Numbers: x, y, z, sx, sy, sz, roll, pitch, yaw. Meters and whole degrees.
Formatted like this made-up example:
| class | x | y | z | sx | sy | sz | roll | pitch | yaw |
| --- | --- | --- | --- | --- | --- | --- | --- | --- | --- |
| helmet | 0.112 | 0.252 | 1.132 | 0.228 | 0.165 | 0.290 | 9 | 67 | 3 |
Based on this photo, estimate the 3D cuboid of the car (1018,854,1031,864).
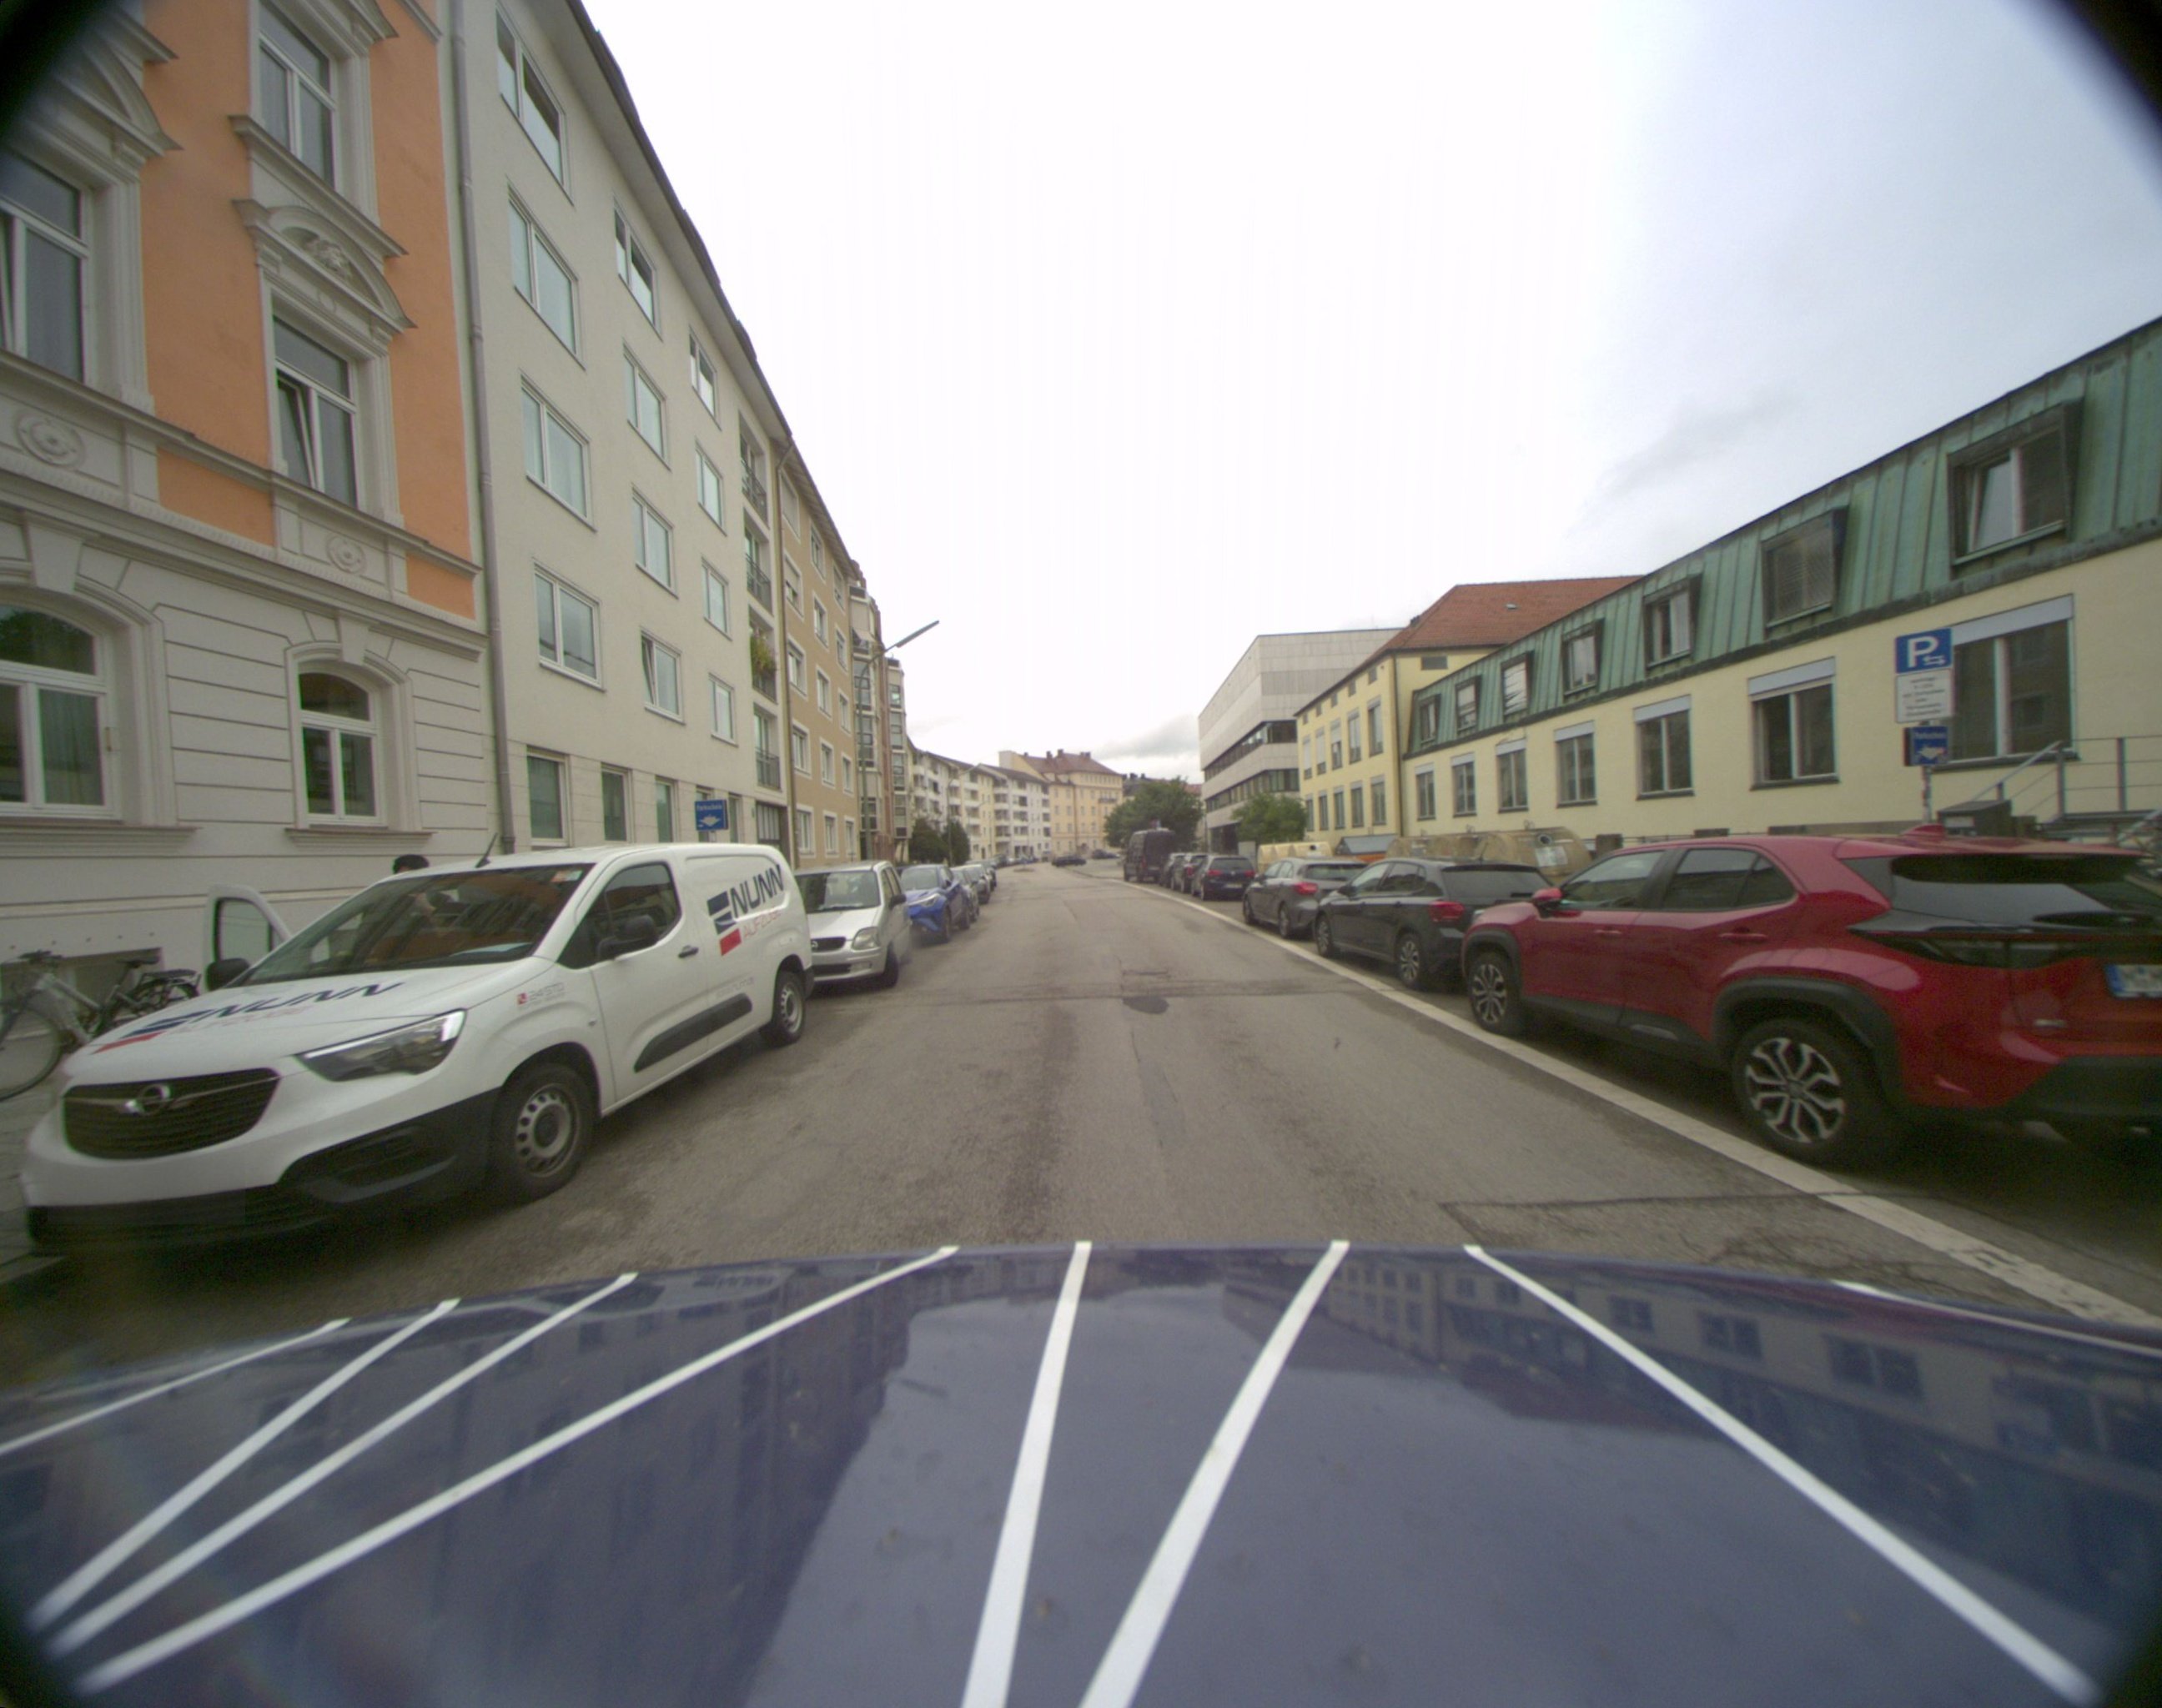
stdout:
| class | x | y | z | sx | sy | sz | roll | pitch | yaw |
| --- | --- | --- | --- | --- | --- | --- | --- | --- | --- |
| car | -9.420 | 0.847 | 126.595 | 1.756 | 1.445 | 3.570 | -3 | 0 | 3 |

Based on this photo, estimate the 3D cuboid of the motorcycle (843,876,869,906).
| class | x | y | z | sx | sy | sz | roll | pitch | yaw |
| --- | --- | --- | --- | --- | --- | --- | --- | --- | --- |
| motorcycle | -9.456 | 1.539 | 31.988 | 0.629 | 1.119 | 1.798 | -3 | 0 | -3 |

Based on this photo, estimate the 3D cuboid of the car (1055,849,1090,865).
| class | x | y | z | sx | sy | sz | roll | pitch | yaw |
| --- | --- | --- | --- | --- | --- | --- | --- | --- | --- |
| car | -1.116 | 0.429 | 96.254 | 4.248 | 1.849 | 1.999 | -2 | 1 | -5 |

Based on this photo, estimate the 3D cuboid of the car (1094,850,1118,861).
| class | x | y | z | sx | sy | sz | roll | pitch | yaw |
| --- | --- | --- | --- | --- | --- | --- | --- | --- | --- |
| car | 4.363 | 0.285 | 132.504 | 3.996 | 1.849 | 2.000 | -2 | 1 | 1 |

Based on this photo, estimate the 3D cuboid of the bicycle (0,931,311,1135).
| class | x | y | z | sx | sy | sz | roll | pitch | yaw |
| --- | --- | --- | --- | --- | --- | --- | --- | --- | --- |
| bicycle | -7.362 | 1.271 | 5.851 | 0.652 | 1.176 | 2.096 | -1 | -1 | 3 |

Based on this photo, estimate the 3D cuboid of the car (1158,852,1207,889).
| class | x | y | z | sx | sy | sz | roll | pitch | yaw |
| --- | --- | --- | --- | --- | --- | --- | --- | --- | --- |
| car | 4.533 | 0.699 | 34.492 | 1.642 | 1.553 | 3.838 | 0 | 0 | -1 |

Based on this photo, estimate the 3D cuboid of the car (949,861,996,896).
| class | x | y | z | sx | sy | sz | roll | pitch | yaw |
| --- | --- | --- | --- | --- | --- | --- | --- | --- | --- |
| car | -4.940 | 1.078 | 35.092 | 1.896 | 1.454 | 4.488 | -1 | 0 | -5 |

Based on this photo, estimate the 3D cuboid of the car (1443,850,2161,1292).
| class | x | y | z | sx | sy | sz | roll | pitch | yaw |
| --- | --- | --- | --- | --- | --- | --- | --- | --- | --- |
| car | 4.067 | 0.759 | 4.686 | 1.679 | 1.557 | 3.996 | 0 | 0 | -1 |

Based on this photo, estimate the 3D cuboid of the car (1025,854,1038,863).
| class | x | y | z | sx | sy | sz | roll | pitch | yaw |
| --- | --- | --- | --- | --- | --- | --- | --- | --- | --- |
| car | -8.580 | 0.822 | 132.711 | 1.756 | 1.445 | 3.570 | -3 | 0 | 3 |

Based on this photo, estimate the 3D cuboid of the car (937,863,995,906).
| class | x | y | z | sx | sy | sz | roll | pitch | yaw |
| --- | --- | --- | --- | --- | --- | --- | --- | --- | --- |
| car | -4.370 | 1.107 | 29.477 | 1.896 | 1.388 | 4.488 | -2 | 1 | -5 |

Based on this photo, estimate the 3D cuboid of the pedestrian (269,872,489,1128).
| class | x | y | z | sx | sy | sz | roll | pitch | yaw |
| --- | --- | --- | --- | --- | --- | --- | --- | --- | --- |
| pedestrian | -4.919 | 0.982 | 5.378 | 0.863 | 1.652 | 0.647 | -3 | 1 | 1 |

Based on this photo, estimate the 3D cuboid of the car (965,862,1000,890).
| class | x | y | z | sx | sy | sz | roll | pitch | yaw |
| --- | --- | --- | --- | --- | --- | --- | --- | --- | --- |
| car | -5.180 | 1.130 | 40.007 | 1.743 | 1.332 | 4.162 | 0 | 0 | -7 |

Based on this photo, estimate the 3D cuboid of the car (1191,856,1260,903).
| class | x | y | z | sx | sy | sz | roll | pitch | yaw |
| --- | --- | --- | --- | --- | --- | --- | --- | --- | --- |
| car | 4.673 | 0.777 | 25.104 | 1.699 | 1.397 | 4.000 | 0 | 0 | 3 |

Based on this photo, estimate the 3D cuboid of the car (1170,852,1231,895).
| class | x | y | z | sx | sy | sz | roll | pitch | yaw |
| --- | --- | --- | --- | --- | --- | --- | --- | --- | --- |
| car | 4.626 | 0.711 | 29.941 | 1.700 | 1.553 | 3.867 | 0 | 0 | -1 |

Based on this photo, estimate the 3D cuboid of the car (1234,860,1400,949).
| class | x | y | z | sx | sy | sz | roll | pitch | yaw |
| --- | --- | --- | --- | --- | --- | --- | --- | --- | --- |
| car | 4.257 | 0.836 | 14.438 | 1.798 | 1.397 | 4.127 | 0 | 0 | -1 |

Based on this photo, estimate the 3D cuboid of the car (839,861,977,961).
| class | x | y | z | sx | sy | sz | roll | pitch | yaw |
| --- | --- | --- | --- | --- | --- | --- | --- | --- | --- |
| car | -3.367 | 1.038 | 15.639 | 1.745 | 1.578 | 4.200 | -5 | 0 | 0 |

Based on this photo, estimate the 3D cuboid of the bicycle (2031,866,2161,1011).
| class | x | y | z | sx | sy | sz | roll | pitch | yaw |
| --- | --- | --- | --- | --- | --- | --- | --- | --- | --- |
| bicycle | 9.192 | 0.719 | 6.229 | 0.424 | 1.165 | 1.938 | -5 | 0 | 4 |

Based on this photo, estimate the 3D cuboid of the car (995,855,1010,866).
| class | x | y | z | sx | sy | sz | roll | pitch | yaw |
| --- | --- | --- | --- | --- | --- | --- | --- | --- | --- |
| car | -11.043 | 0.917 | 107.127 | 1.756 | 1.445 | 3.568 | -3 | 0 | -3 |

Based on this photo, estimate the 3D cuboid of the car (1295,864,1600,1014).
| class | x | y | z | sx | sy | sz | roll | pitch | yaw |
| --- | --- | --- | --- | --- | --- | --- | --- | --- | --- |
| car | 4.169 | 0.860 | 9.451 | 1.679 | 1.397 | 3.989 | 0 | 0 | -3 |

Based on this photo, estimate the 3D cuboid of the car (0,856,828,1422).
| class | x | y | z | sx | sy | sz | roll | pitch | yaw |
| --- | --- | --- | --- | --- | --- | --- | --- | --- | --- |
| car | -3.534 | 1.009 | 5.002 | 1.845 | 1.775 | 4.895 | -5 | 0 | 1 |

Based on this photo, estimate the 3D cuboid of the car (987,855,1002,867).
| class | x | y | z | sx | sy | sz | roll | pitch | yaw |
| --- | --- | --- | --- | --- | --- | --- | --- | --- | --- |
| car | -11.606 | 0.940 | 102.043 | 1.757 | 1.445 | 3.567 | -3 | 0 | -9 |

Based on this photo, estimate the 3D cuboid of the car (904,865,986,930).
| class | x | y | z | sx | sy | sz | roll | pitch | yaw |
| --- | --- | --- | --- | --- | --- | --- | --- | --- | --- |
| car | -3.592 | 1.093 | 20.694 | 1.746 | 1.388 | 4.199 | -4 | 0 | -5 |

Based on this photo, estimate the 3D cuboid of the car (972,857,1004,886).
| class | x | y | z | sx | sy | sz | roll | pitch | yaw |
| --- | --- | --- | --- | --- | --- | --- | --- | --- | --- |
| car | -5.532 | 0.995 | 45.047 | 1.742 | 1.569 | 3.831 | -3 | 0 | -7 |

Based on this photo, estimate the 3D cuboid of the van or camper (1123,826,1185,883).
| class | x | y | z | sx | sy | sz | roll | pitch | yaw |
| --- | --- | --- | --- | --- | --- | --- | --- | --- | --- |
| van or camper | 3.806 | 0.014 | 40.874 | 2.142 | 2.791 | 5.569 | -1 | 0 | -6 |

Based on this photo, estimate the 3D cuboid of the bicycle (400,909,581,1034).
| class | x | y | z | sx | sy | sz | roll | pitch | yaw |
| --- | --- | --- | --- | --- | --- | --- | --- | --- | --- |
| bicycle | -6.839 | 1.304 | 8.957 | 0.669 | 1.115 | 1.954 | -4 | 1 | -6 |

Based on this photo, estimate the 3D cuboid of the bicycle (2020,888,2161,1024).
| class | x | y | z | sx | sy | sz | roll | pitch | yaw |
| --- | --- | --- | --- | --- | --- | --- | --- | --- | --- |
| bicycle | 8.748 | 0.831 | 6.037 | 0.456 | 0.989 | 1.741 | -5 | 0 | 4 |

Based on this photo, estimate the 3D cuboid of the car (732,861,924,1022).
| class | x | y | z | sx | sy | sz | roll | pitch | yaw |
| --- | --- | --- | --- | --- | --- | --- | --- | --- | --- |
| car | -3.241 | 1.006 | 10.446 | 1.608 | 1.633 | 3.629 | -5 | 1 | -6 |

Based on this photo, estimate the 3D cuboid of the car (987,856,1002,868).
| class | x | y | z | sx | sy | sz | roll | pitch | yaw |
| --- | --- | --- | --- | --- | --- | --- | --- | --- | --- |
| car | -11.177 | 0.964 | 97.605 | 1.757 | 1.445 | 3.567 | -2 | 0 | -9 |

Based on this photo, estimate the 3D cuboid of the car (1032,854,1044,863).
| class | x | y | z | sx | sy | sz | roll | pitch | yaw |
| --- | --- | --- | --- | --- | --- | --- | --- | --- | --- |
| car | -7.905 | 0.783 | 138.783 | 1.756 | 1.445 | 3.570 | -3 | 0 | 3 |
